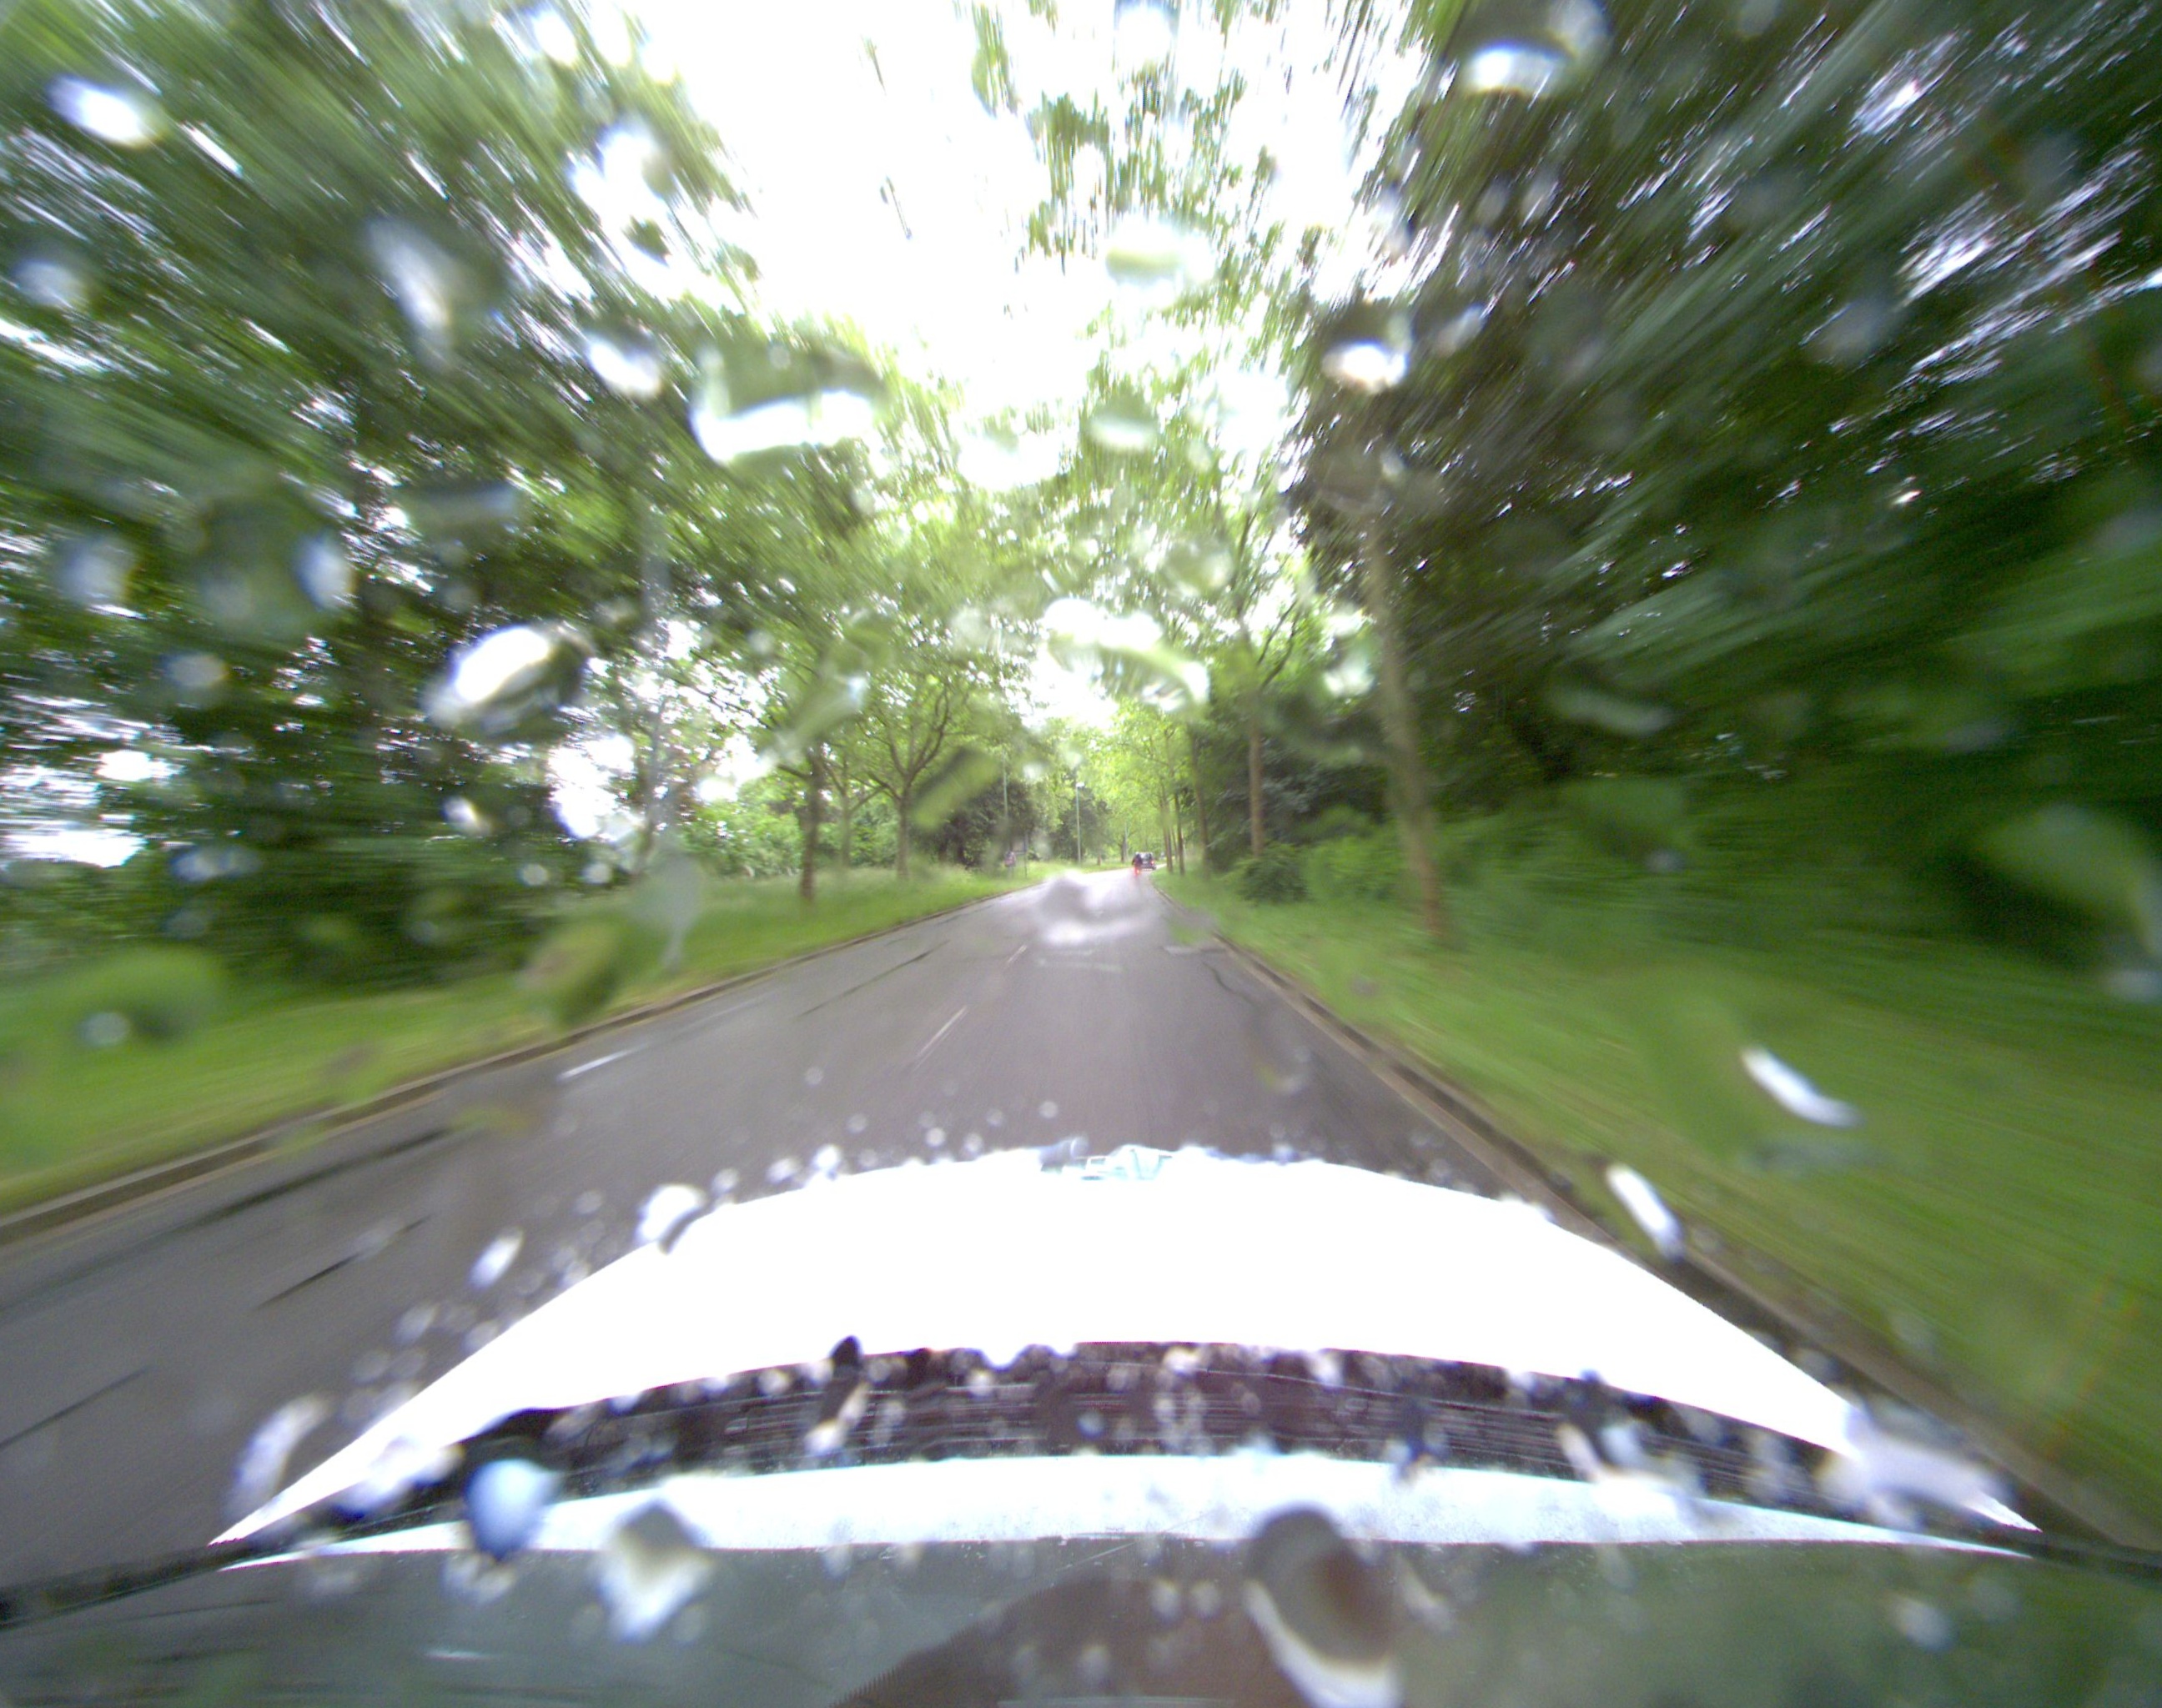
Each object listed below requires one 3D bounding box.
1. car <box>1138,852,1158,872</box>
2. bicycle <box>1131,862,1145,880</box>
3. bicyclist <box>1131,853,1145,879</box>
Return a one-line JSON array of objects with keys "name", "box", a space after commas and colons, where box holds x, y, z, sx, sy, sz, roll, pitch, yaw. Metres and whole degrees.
[{"name": "car", "box": [6.955, 0.783, 84.274, 1.975, 1.926, 4.007, -2, 0, 6]}, {"name": "bicycle", "box": [3.188, 0.932, 45.138, 0.726, 0.974, 2.176, -1, 0, 5]}, {"name": "bicyclist", "box": [3.173, 0.679, 44.962, 0.726, 1.411, 0.974, -1, 0, 5]}]
